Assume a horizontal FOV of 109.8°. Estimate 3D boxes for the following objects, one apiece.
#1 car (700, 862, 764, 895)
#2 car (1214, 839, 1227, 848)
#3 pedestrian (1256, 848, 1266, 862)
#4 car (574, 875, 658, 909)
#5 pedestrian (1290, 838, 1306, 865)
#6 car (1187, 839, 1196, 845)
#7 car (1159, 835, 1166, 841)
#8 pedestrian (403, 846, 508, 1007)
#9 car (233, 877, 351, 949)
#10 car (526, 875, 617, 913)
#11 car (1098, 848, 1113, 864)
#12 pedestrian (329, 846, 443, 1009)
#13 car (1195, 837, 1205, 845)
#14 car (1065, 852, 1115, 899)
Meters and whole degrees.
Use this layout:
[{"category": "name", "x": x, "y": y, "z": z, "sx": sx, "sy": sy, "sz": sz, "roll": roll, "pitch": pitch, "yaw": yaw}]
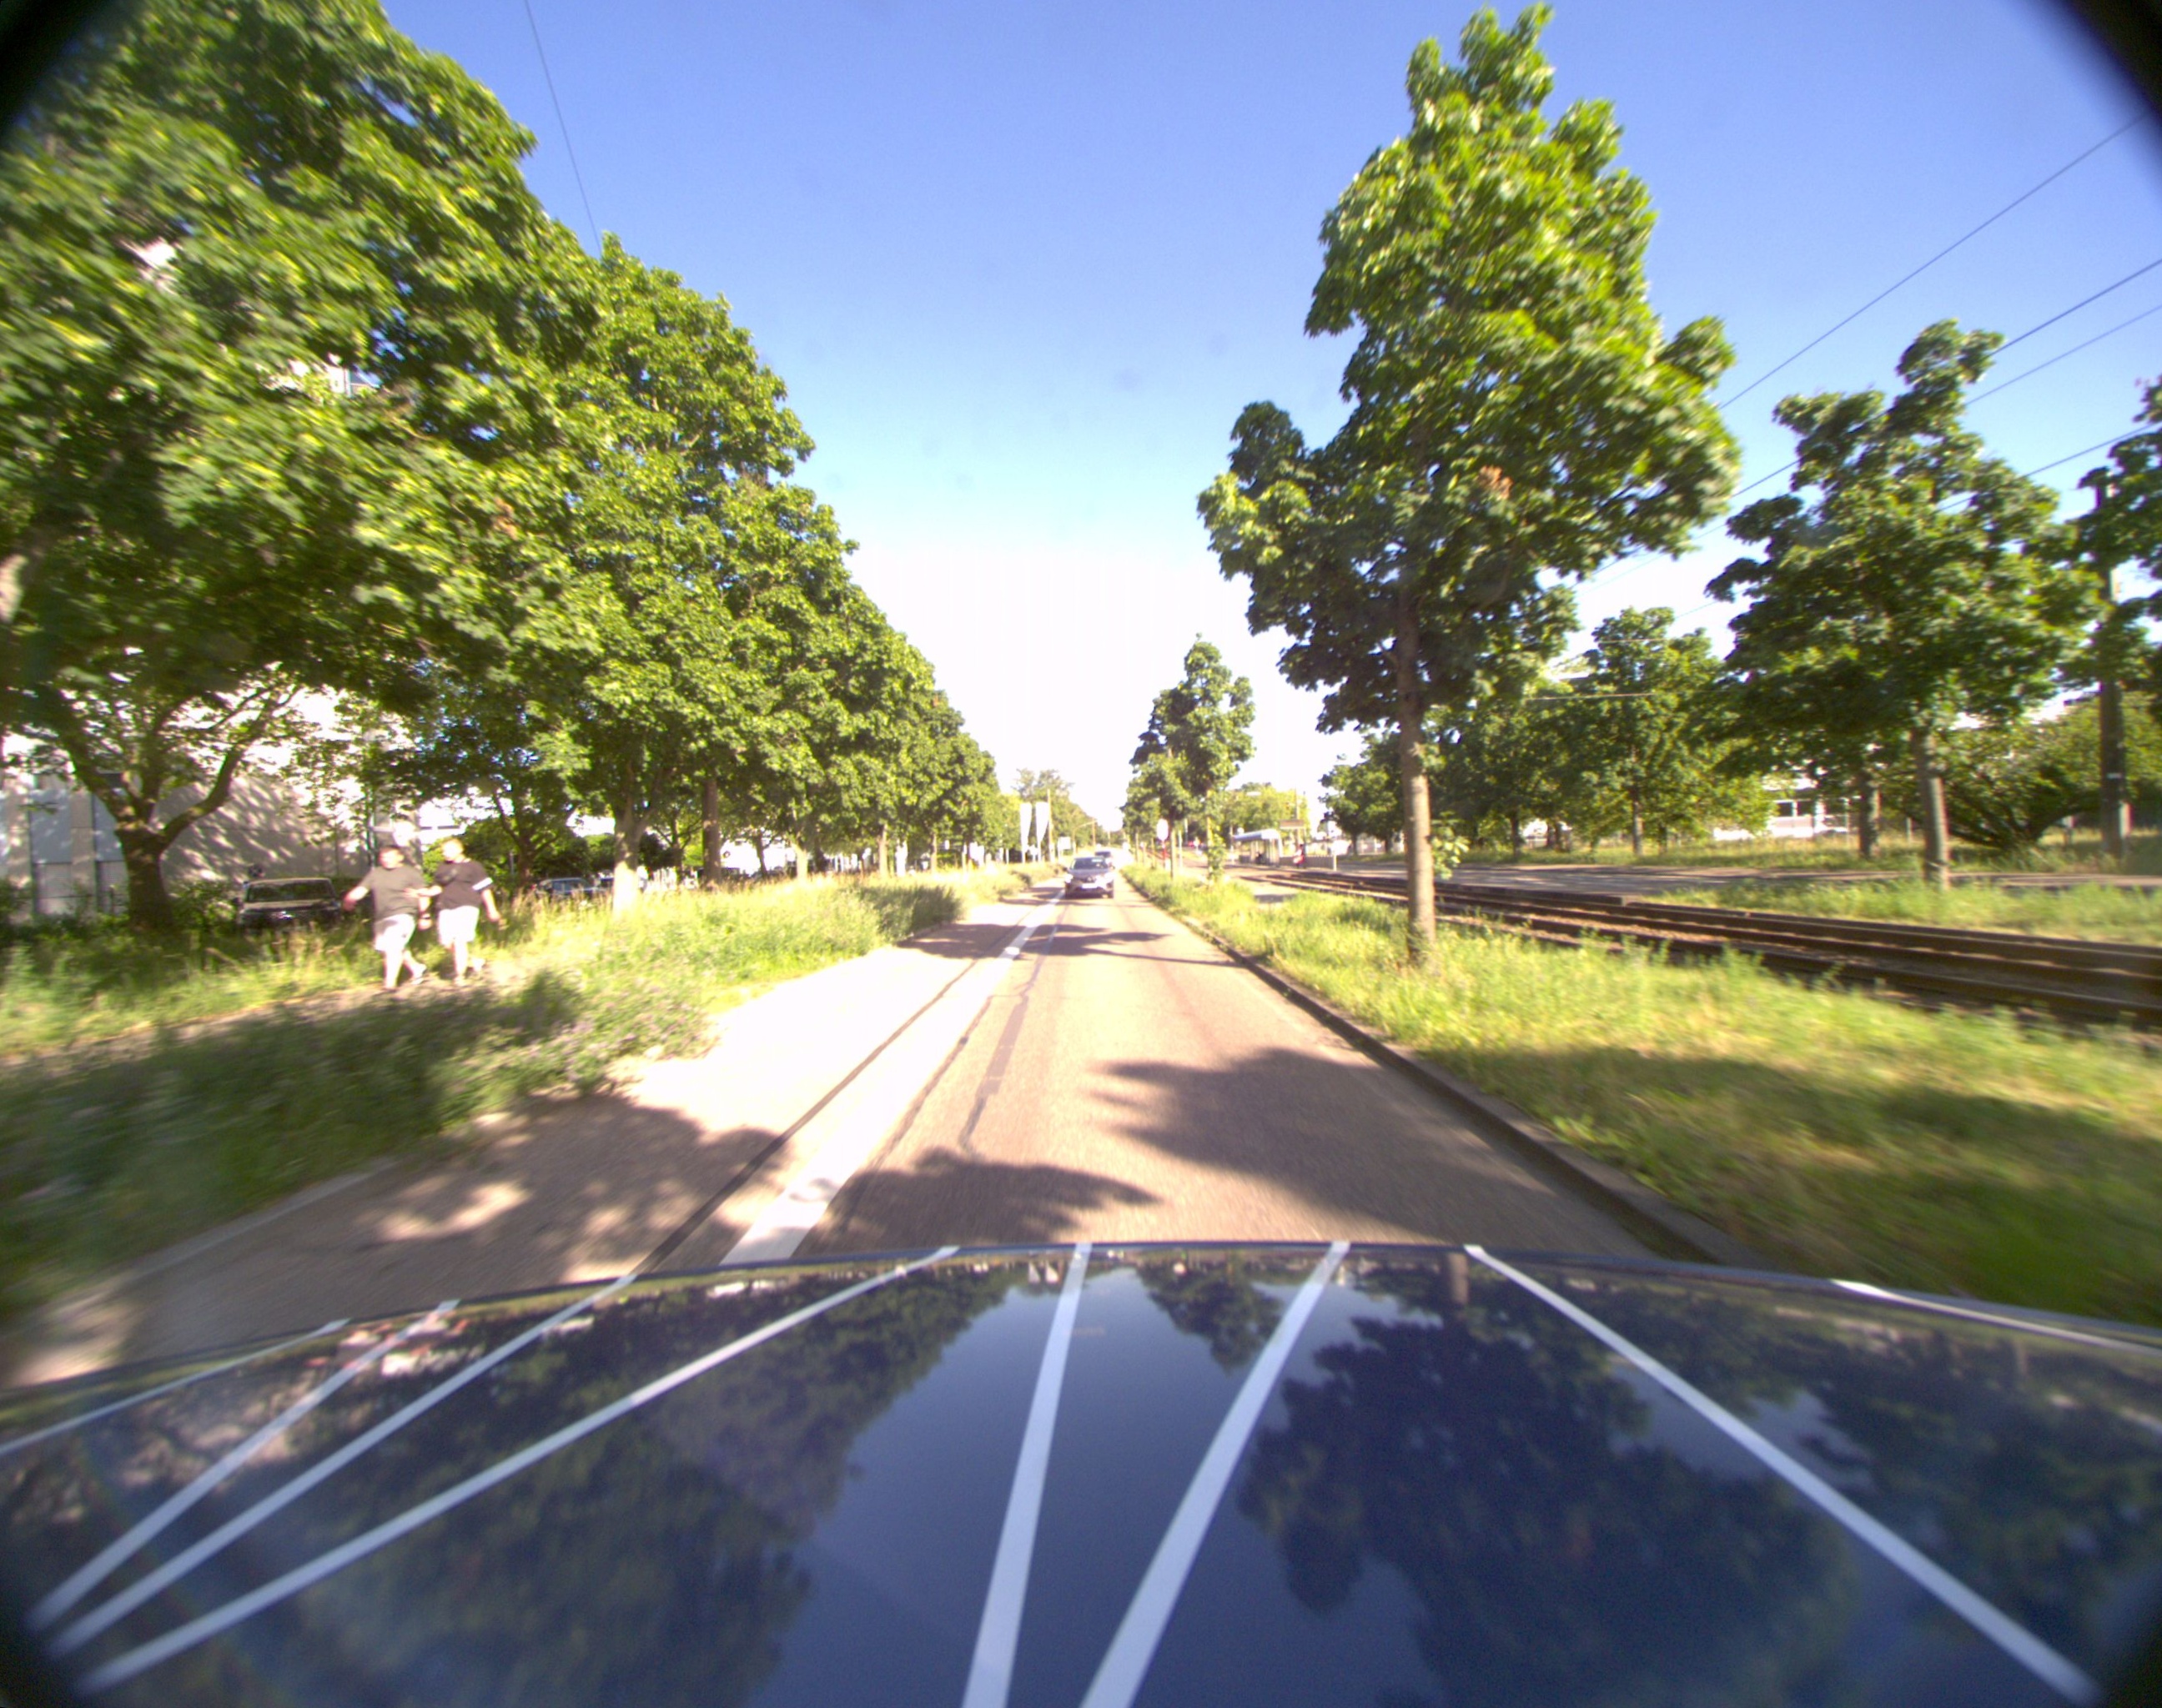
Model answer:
[{"category": "car", "x": -22.514, "y": 1.584, "z": 48.938, "sx": 2.084, "sy": 1.865, "sz": 5.173, "roll": -3, "pitch": 1, "yaw": -44}, {"category": "car", "x": 26.780, "y": -2.054, "z": 145.558, "sx": 1.771, "sy": 1.575, "sz": 3.456, "roll": -2, "pitch": 0, "yaw": 0}, {"category": "pedestrian", "x": 15.699, "y": 0.114, "z": 66.278, "sx": 0.650, "sy": 1.242, "sz": 0.681, "roll": 0, "pitch": 0, "yaw": -7}, {"category": "car", "x": -22.603, "y": 1.835, "z": 36.885, "sx": 4.537, "sy": 1.440, "sz": 1.851, "roll": -3, "pitch": 1, "yaw": 36}, {"category": "pedestrian", "x": 14.793, "y": -0.166, "z": 51.824, "sx": 0.786, "sy": 1.741, "sz": 0.781, "roll": -3, "pitch": 1, "yaw": 0}, {"category": "car", "x": 29.797, "y": -3.275, "z": 204.786, "sx": 1.701, "sy": 1.575, "sz": 3.456, "roll": -2, "pitch": 0, "yaw": 0}, {"category": "car", "x": 25.056, "y": -4.949, "z": 234.429, "sx": 1.701, "sy": 1.575, "sz": 3.456, "roll": -2, "pitch": 0, "yaw": 0}, {"category": "pedestrian", "x": -7.921, "y": 0.877, "z": 9.662, "sx": 0.711, "sy": 1.907, "sz": 0.815, "roll": -3, "pitch": 1, "yaw": -21}, {"category": "car", "x": -22.869, "y": 1.630, "z": 22.227, "sx": 1.922, "sy": 1.741, "sz": 5.442, "roll": -3, "pitch": 1, "yaw": -42}, {"category": "car", "x": -22.644, "y": 1.778, "z": 33.718, "sx": 4.537, "sy": 1.506, "sz": 1.851, "roll": -3, "pitch": 1, "yaw": 36}, {"category": "car", "x": 2.833, "y": 0.212, "z": 87.712, "sx": 1.555, "sy": 1.765, "sz": 3.456, "roll": -2, "pitch": 0, "yaw": 0}, {"category": "pedestrian", "x": -8.733, "y": 0.888, "z": 9.588, "sx": 0.711, "sy": 1.919, "sz": 0.815, "roll": -3, "pitch": 1, "yaw": -20}, {"category": "car", "x": 26.728, "y": -2.926, "z": 170.188, "sx": 1.701, "sy": 1.575, "sz": 3.456, "roll": -2, "pitch": 0, "yaw": 0}, {"category": "car", "x": 0.326, "y": 0.790, "z": 29.768, "sx": 1.750, "sy": 1.585, "sz": 4.246, "roll": -3, "pitch": 1, "yaw": 0}]
